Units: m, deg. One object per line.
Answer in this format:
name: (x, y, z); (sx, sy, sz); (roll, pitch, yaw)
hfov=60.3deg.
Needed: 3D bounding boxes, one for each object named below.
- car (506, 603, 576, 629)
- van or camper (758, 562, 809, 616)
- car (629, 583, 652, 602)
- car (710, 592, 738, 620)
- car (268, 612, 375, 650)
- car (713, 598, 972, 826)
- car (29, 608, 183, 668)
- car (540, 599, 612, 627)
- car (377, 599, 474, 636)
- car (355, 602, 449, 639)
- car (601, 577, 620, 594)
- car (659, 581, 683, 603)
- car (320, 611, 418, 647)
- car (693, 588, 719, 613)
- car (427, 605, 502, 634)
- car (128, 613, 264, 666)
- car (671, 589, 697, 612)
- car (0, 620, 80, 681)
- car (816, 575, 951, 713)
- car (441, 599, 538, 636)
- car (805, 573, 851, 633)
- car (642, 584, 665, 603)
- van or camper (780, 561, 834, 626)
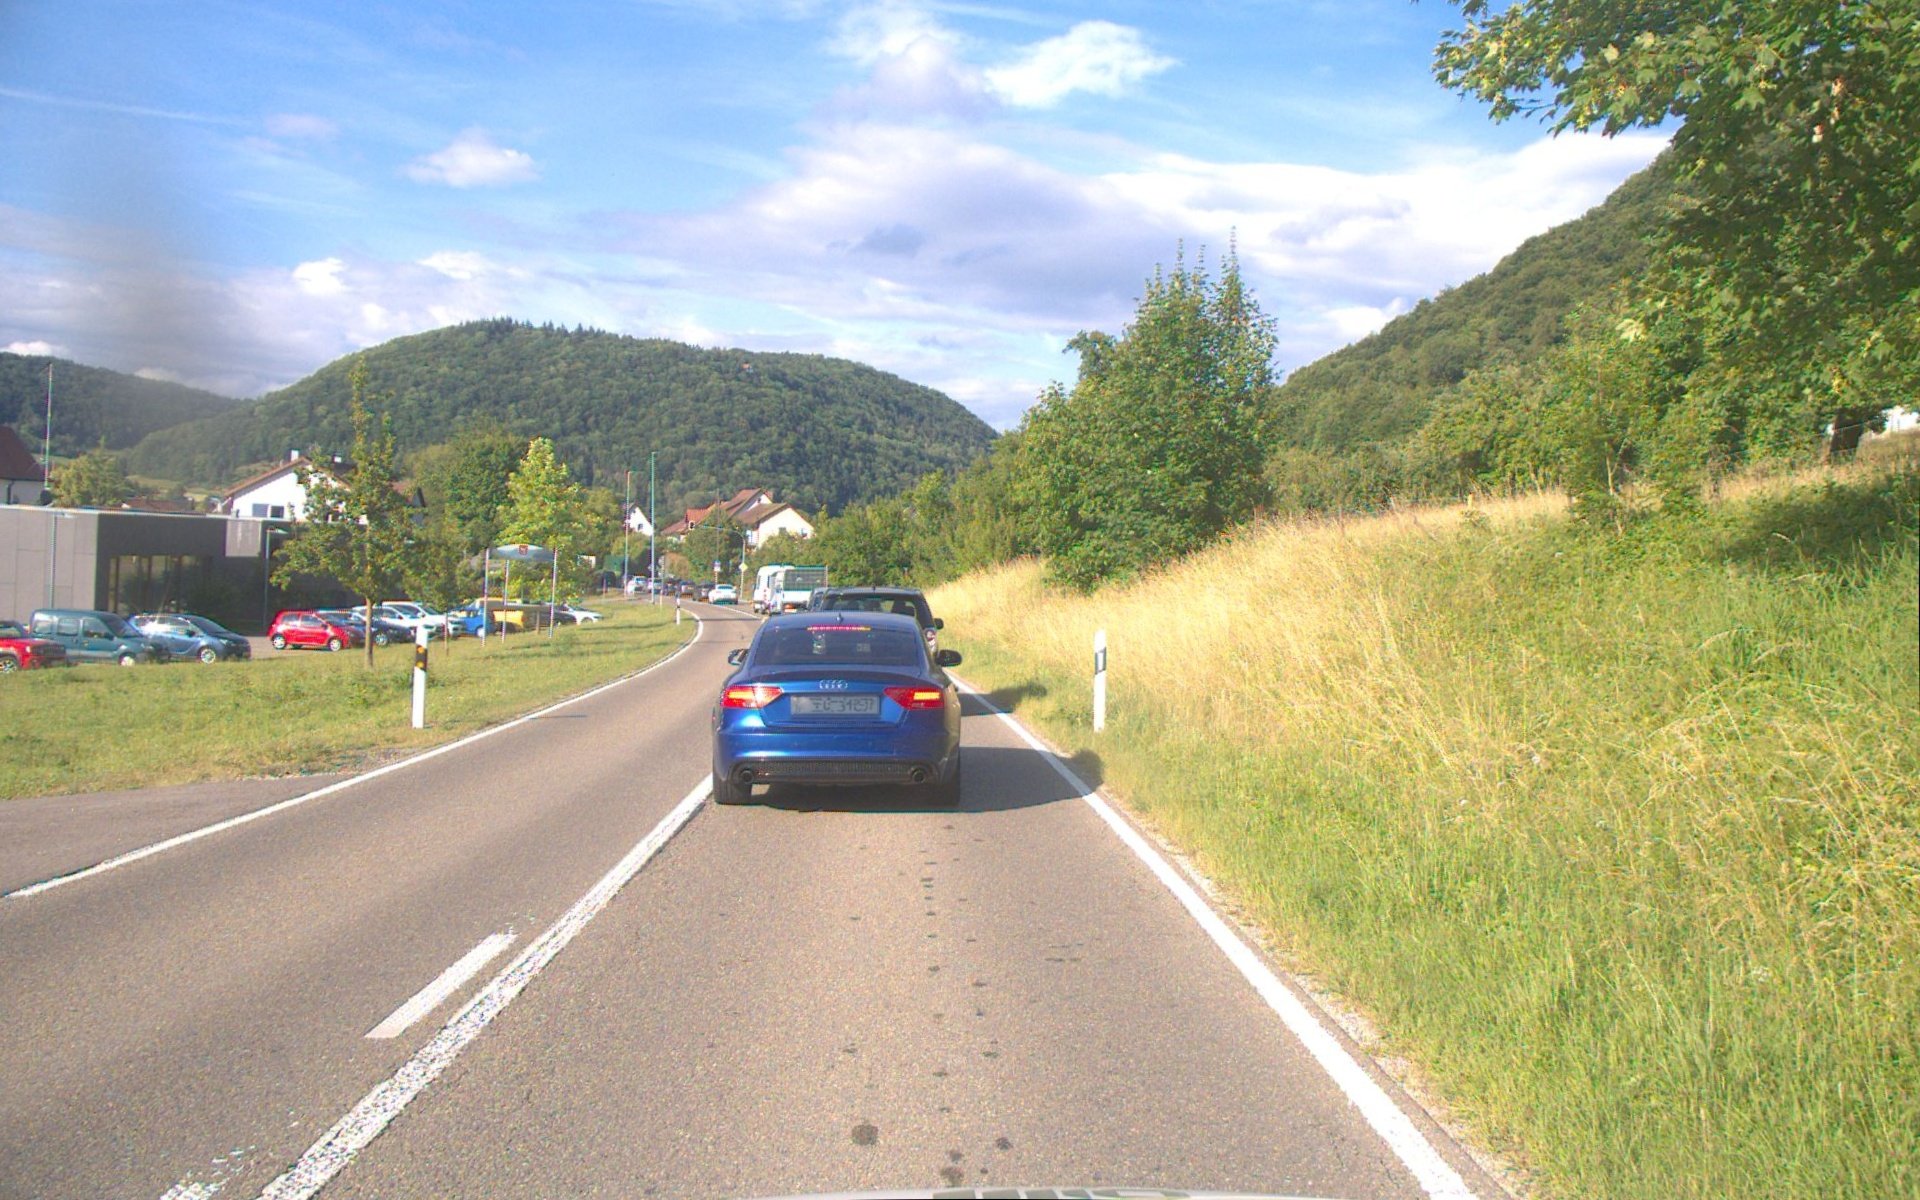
car: (-24.304, 0.904, 95.913); (3.634, 1.464, 1.510); (0, 0, 4)
van or camper: (-9.351, -0.551, 87.330); (2.239, 2.761, 5.753); (-1, 0, -10)
car: (-33.981, -0.828, 175.688); (1.654, 1.958, 3.972); (0, 0, -22)
car: (-17.252, 0.424, 120.813); (1.631, 1.958, 3.986); (-1, 0, -13)
car: (-25.307, 1.211, 65.609); (3.548, 1.469, 1.649); (0, 0, 4)
car: (-0.905, 0.736, 12.743); (1.708, 1.476, 3.514); (-1, 0, -4)
car: (-26.208, 1.139, 50.812); (3.782, 1.752, 1.756); (1, 0, 1)
car: (-23.308, 0.769, 100.384); (3.950, 1.689, 1.656); (0, 0, 4)
car: (-24.946, 0.802, 77.252); (3.991, 1.702, 1.597); (0, 0, 4)
car: (-24.901, 0.899, 73.852); (3.589, 1.519, 1.598); (0, 3, 4)
car: (-40.962, -1.637, 193.795); (1.653, 1.958, 3.976); (0, 0, -21)
car: (-27.167, -0.734, 155.381); (1.652, 1.958, 3.977); (-1, 0, -20)
car: (-25.154, 1.228, 70.493); (3.548, 1.429, 1.598); (0, 2, 4)
car: (-20.356, 0.044, 132.521); (1.632, 1.958, 3.984); (-1, 0, -15)
car: (-24.897, 0.987, 83.183); (3.302, 1.397, 1.659); (0, 0, -4)
car: (-25.599, 1.315, 55.468); (3.738, 1.752, 1.733); (0, 0, 3)
car: (-24.425, 0.059, 146.306); (1.634, 1.958, 3.979); (-1, 0, -18)
car: (-26.438, 1.380, 45.207); (3.837, 1.606, 1.756); (0, 0, 3)
car: (-1.033, 0.544, 22.104); (1.613, 1.653, 3.514); (2, 0, -3)
car: (-24.408, 0.901, 85.835); (4.457, 1.846, 1.842); (0, 0, 4)
car: (-4.684, 0.099, 58.417); (1.537, 2.049, 3.995); (-1, 0, -5)
car: (-30.899, -0.653, 166.531); (1.653, 1.958, 3.975); (-1, 0, -21)
van or camper: (-6.362, -0.248, 68.253); (2.013, 2.549, 5.802); (-1, 0, -7)
